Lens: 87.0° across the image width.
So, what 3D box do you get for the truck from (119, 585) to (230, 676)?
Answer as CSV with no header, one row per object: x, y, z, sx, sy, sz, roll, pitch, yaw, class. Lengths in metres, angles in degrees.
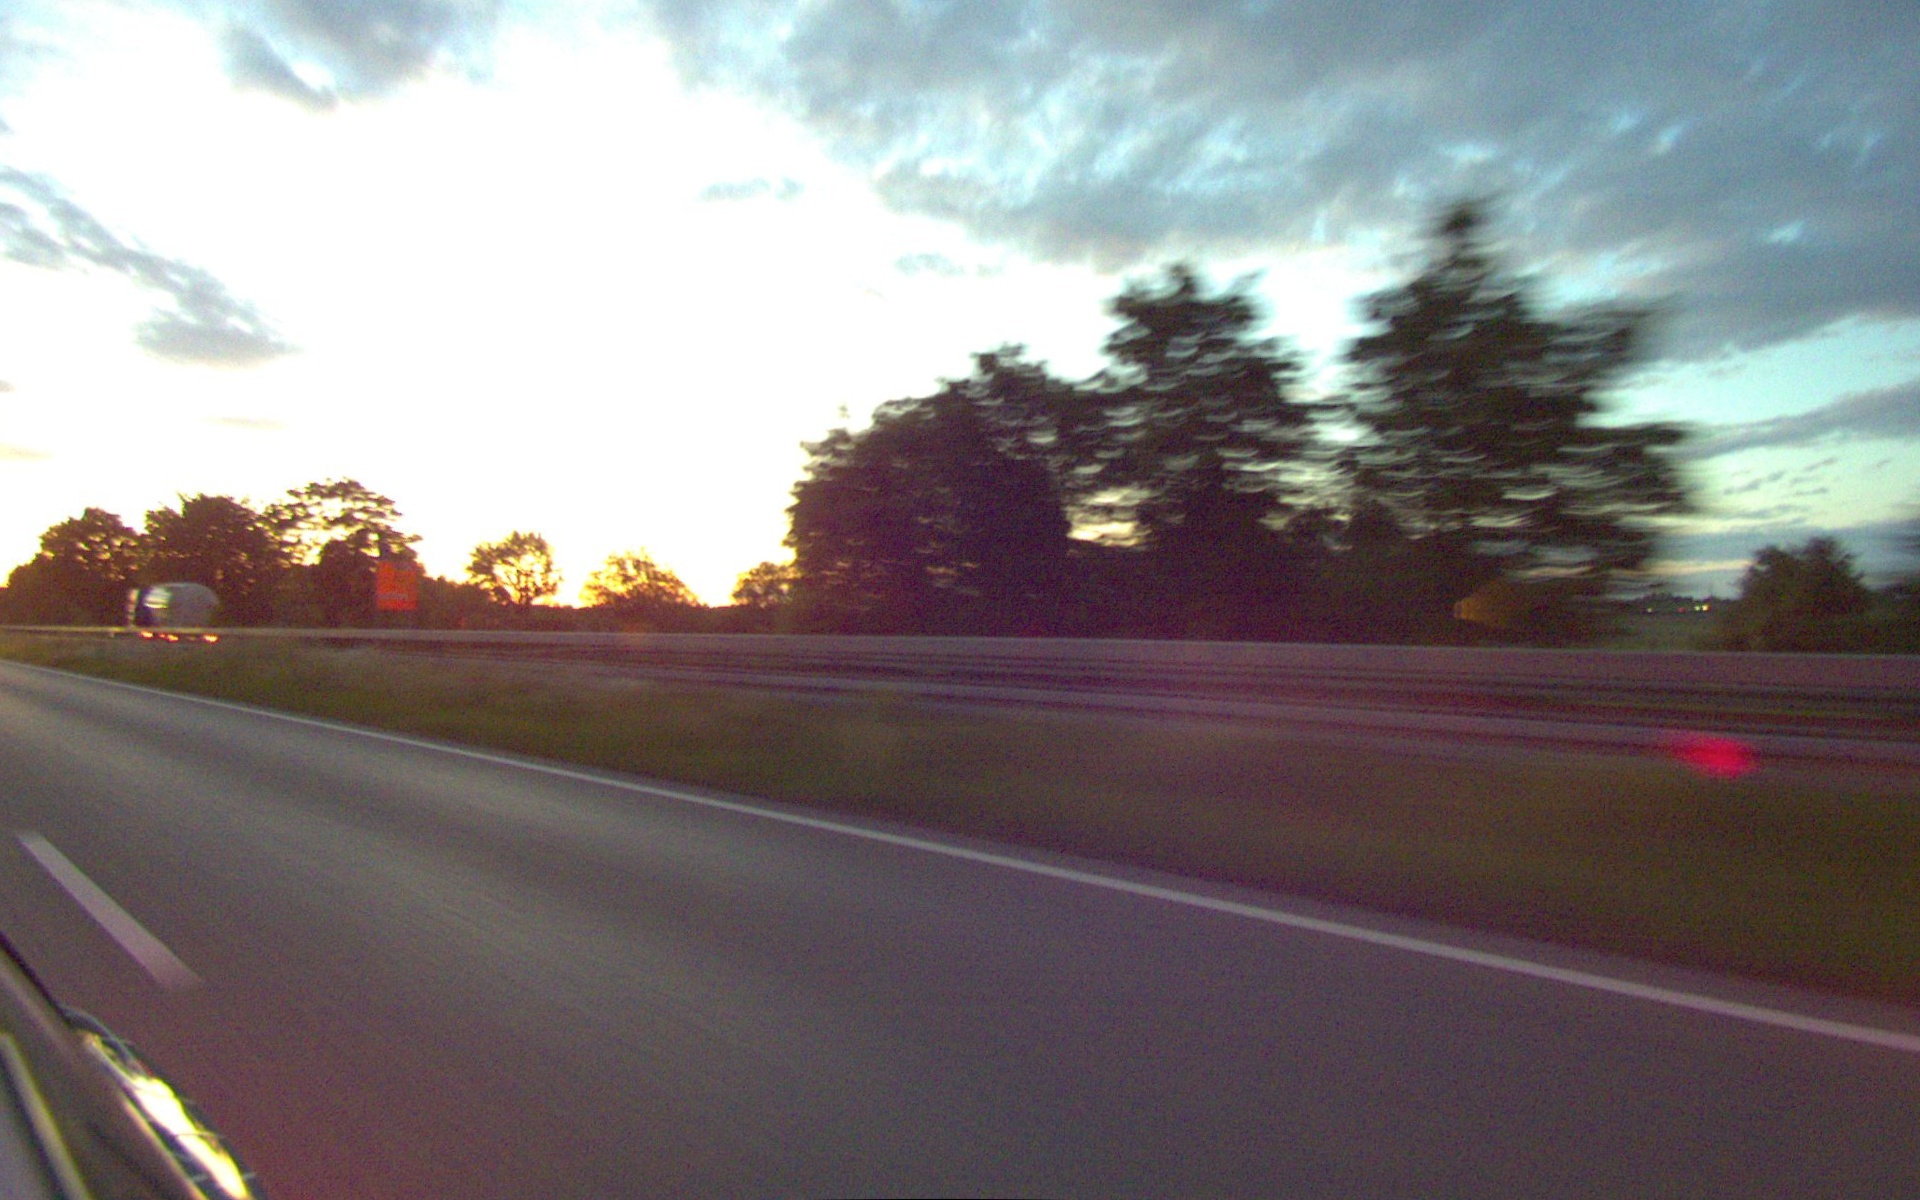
-49.914,1.824,64.104,12.602,5.295,3.169,-1,-1,41,truck
